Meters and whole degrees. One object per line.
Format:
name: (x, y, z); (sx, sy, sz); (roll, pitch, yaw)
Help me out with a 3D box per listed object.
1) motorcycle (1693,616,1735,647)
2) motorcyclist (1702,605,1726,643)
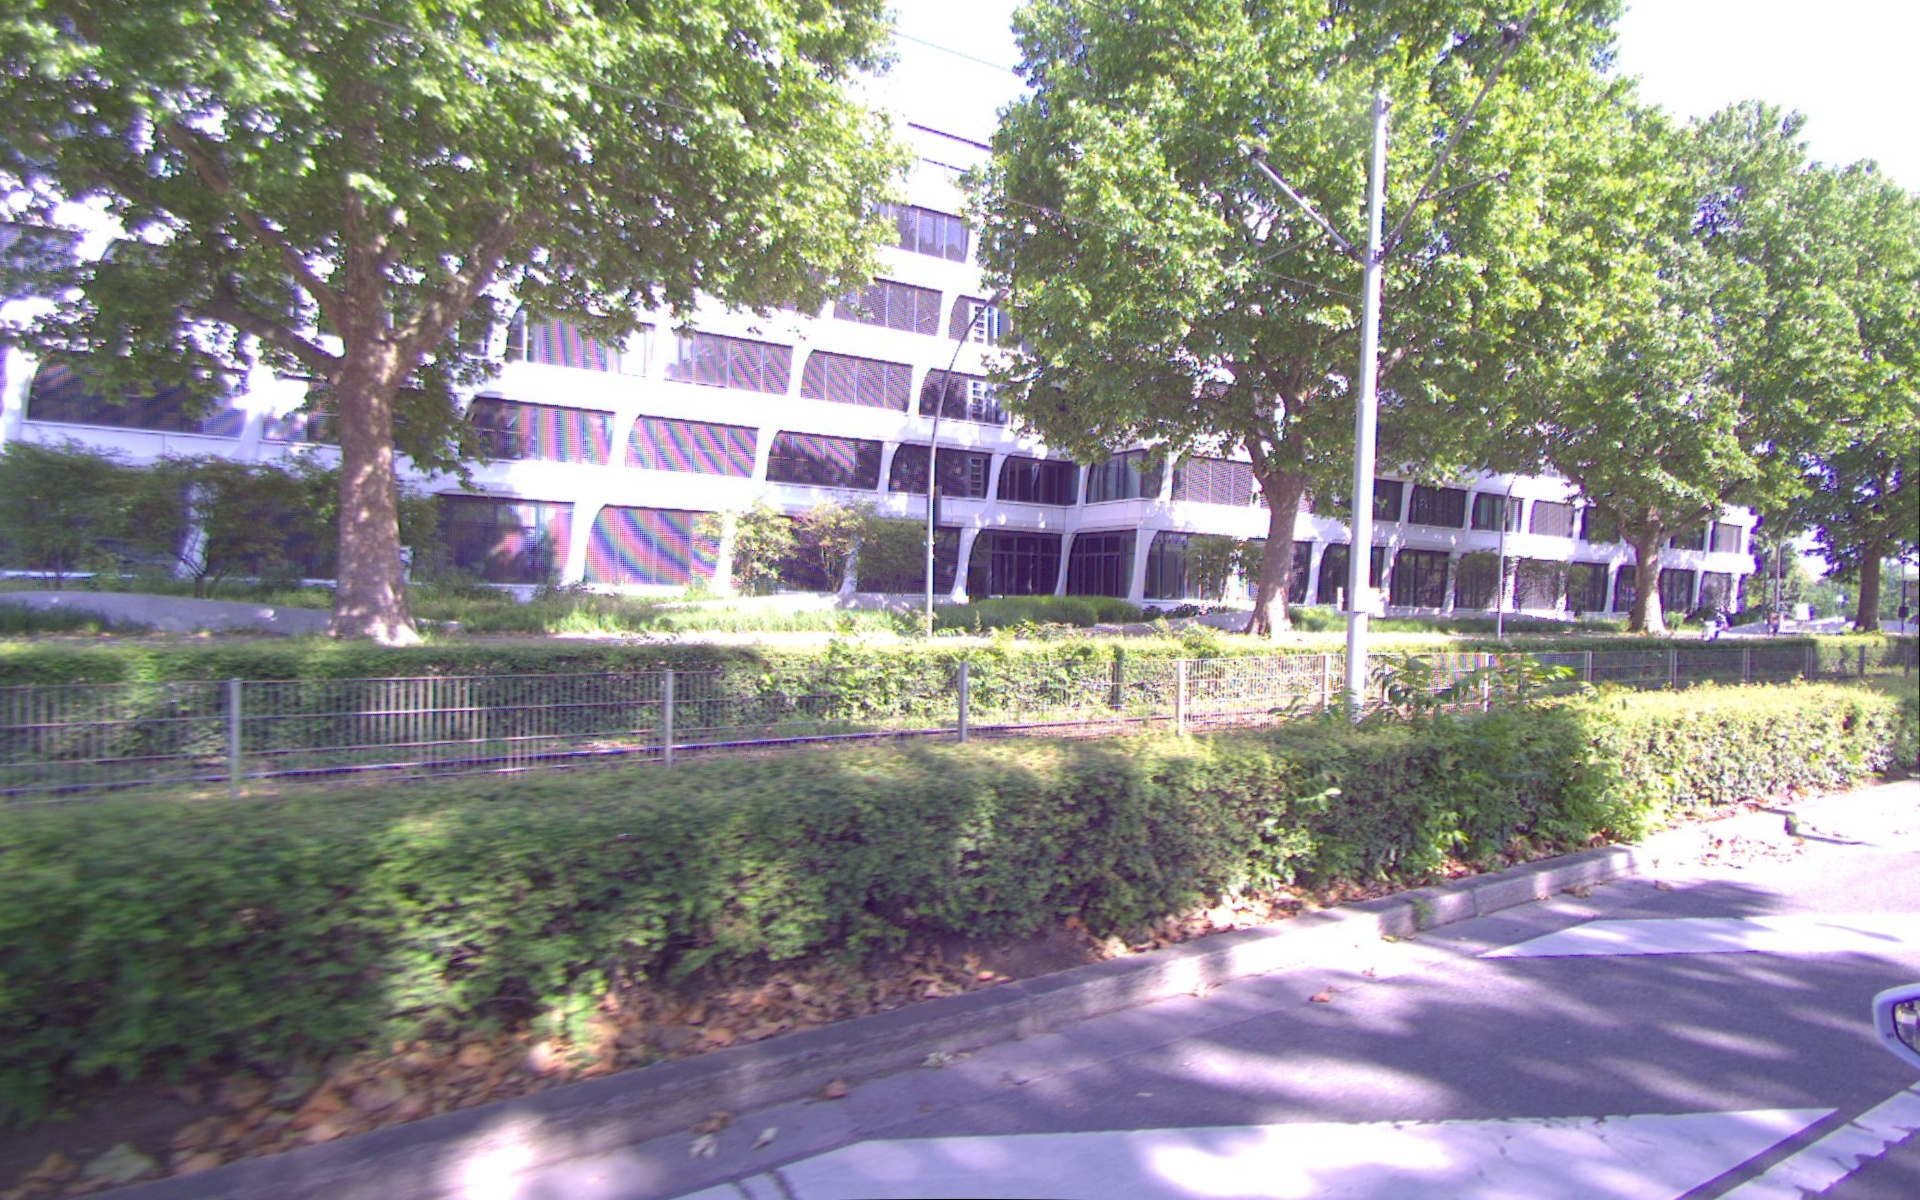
motorcycle: (29.944, 1.231, 39.890); (1.976, 1.190, 0.629); (1, 1, -31)
motorcyclist: (29.889, 0.956, 39.842); (0.527, 1.477, 0.578); (1, 1, -30)
